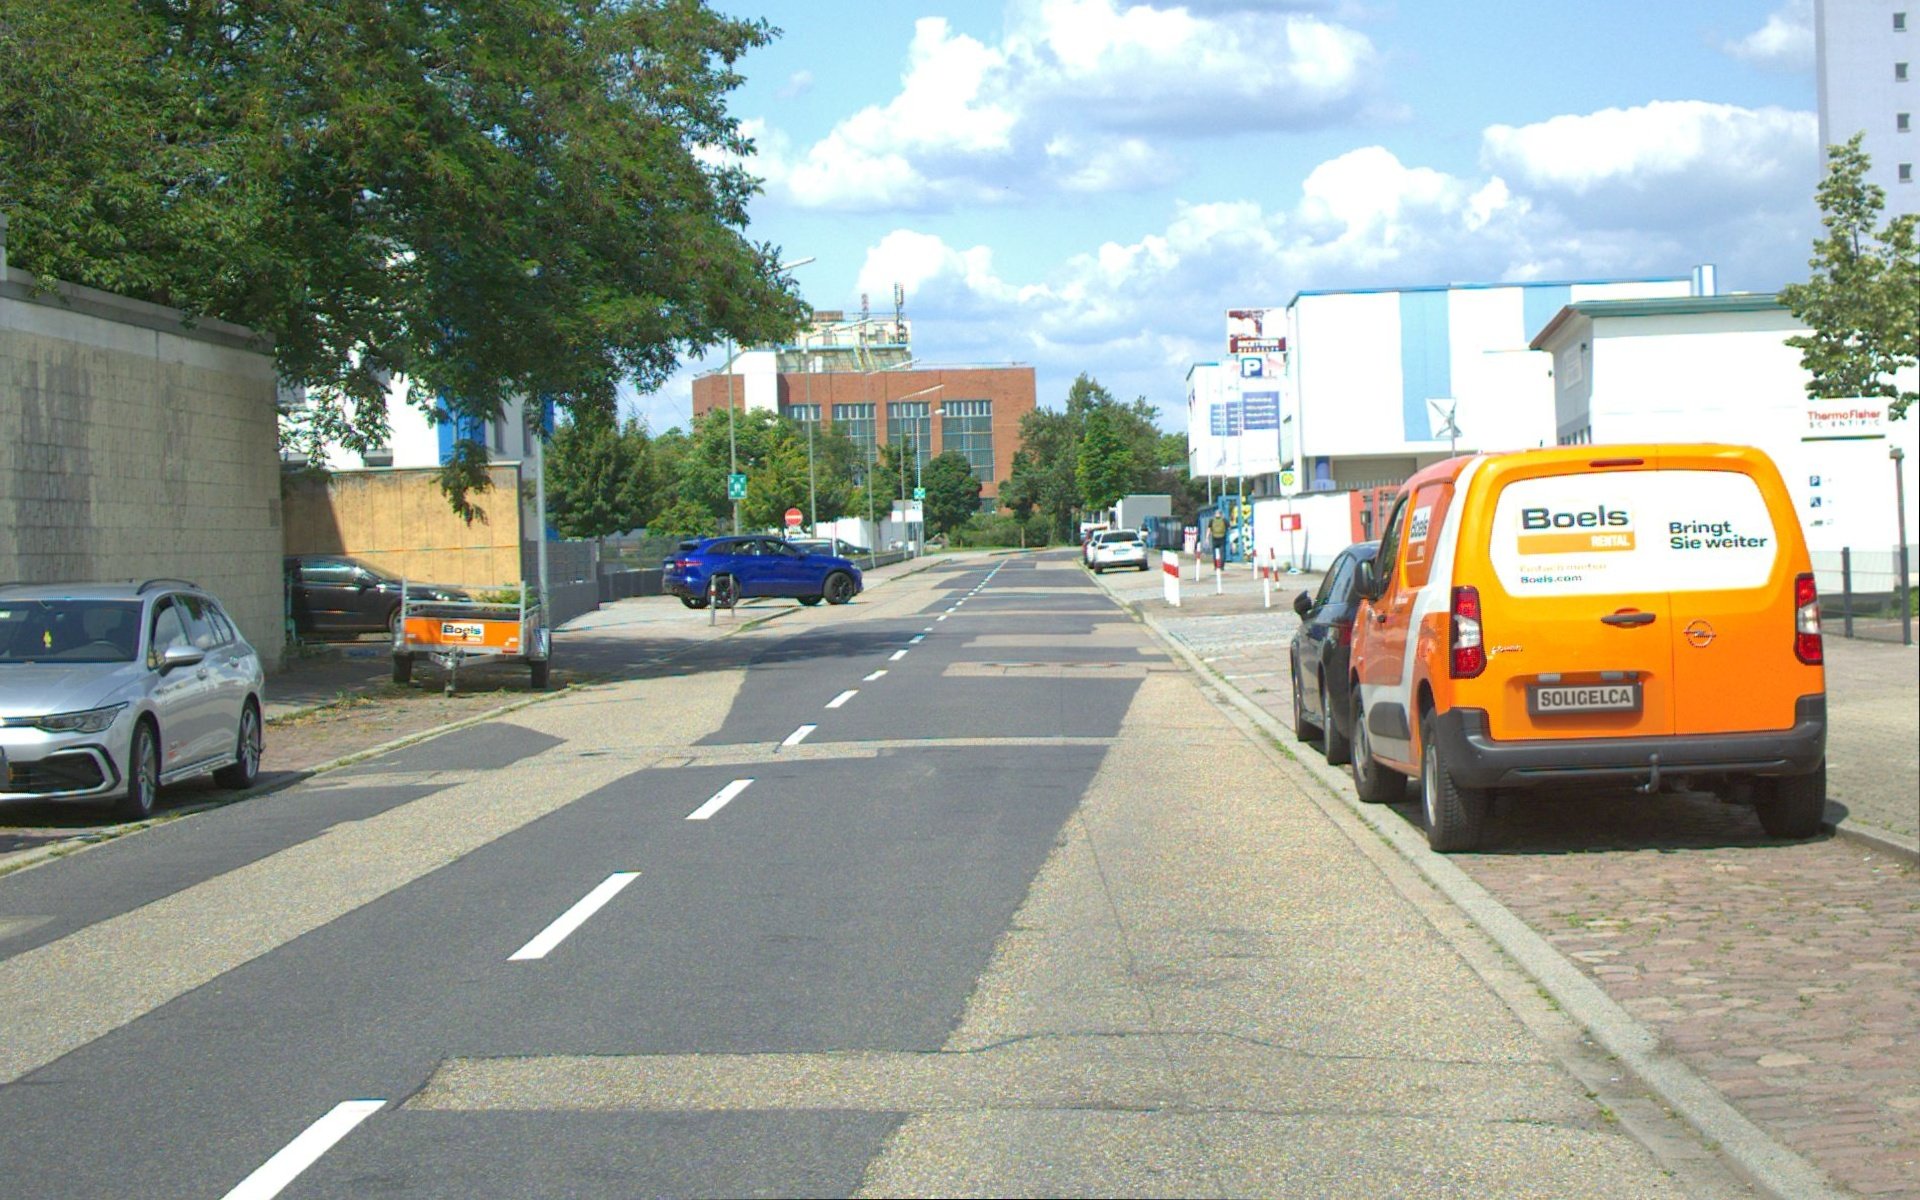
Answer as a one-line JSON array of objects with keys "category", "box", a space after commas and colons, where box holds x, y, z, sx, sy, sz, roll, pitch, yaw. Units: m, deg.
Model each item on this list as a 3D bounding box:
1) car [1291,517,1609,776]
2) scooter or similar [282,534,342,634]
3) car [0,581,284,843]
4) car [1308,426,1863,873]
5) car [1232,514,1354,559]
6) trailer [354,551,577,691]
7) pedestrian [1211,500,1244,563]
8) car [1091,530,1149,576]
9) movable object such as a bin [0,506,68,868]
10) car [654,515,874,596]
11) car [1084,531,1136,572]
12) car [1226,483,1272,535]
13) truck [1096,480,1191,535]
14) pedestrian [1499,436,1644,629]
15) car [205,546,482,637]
[{"category": "car", "box": [3.179, 0.239, 22.995, 1.659, 1.552, 4.178, 1, 1, 2]}, {"category": "scooter or similar", "box": [-8.459, -0.219, 44.896, 0.482, 1.274, 1.361, 1, 1, 2]}, {"category": "car", "box": [-5.643, 0.641, 22.205, 1.673, 1.450, 4.514, 0, 1, 0]}, {"category": "car", "box": [2.961, 0.175, 17.270, 1.872, 1.886, 4.453, 2, 1, 0]}, {"category": "car", "box": [12.217, -2.345, 126.216, 4.279, 1.415, 2.000, -3, 2, 2]}, {"category": "trailer", "box": [-5.489, 0.193, 38.639, 1.767, 1.434, 4.336, 1, 1, 1]}, {"category": "pedestrian", "box": [7.602, -1.944, 97.743, 0.769, 1.750, 0.787, -4, 1, 1]}, {"category": "car", "box": [5.560, -1.653, 120.116, 1.867, 1.515, 4.598, -1, 1, 1]}, {"category": "movable object such as a bin", "box": [-5.895, 0.482, 16.848, 1.613, 1.912, 5.138, 2, 2, 1]}, {"category": "car", "box": [-4.550, -1.036, 79.660, 4.685, 1.587, 1.916, -3, 1, -17]}, {"category": "car", "box": [5.786, -1.877, 132.991, 1.835, 1.515, 4.461, -1, 1, 1]}, {"category": "car", "box": [14.230, -4.464, 169.525, 1.924, 2.455, 5.259, -1, 1, 2]}, {"category": "truck", "box": [12.864, -6.495, 239.703, 2.325, 3.555, 9.351, 1, 3, 32]}, {"category": "pedestrian", "box": [6.385, -0.700, 35.947, 0.989, 1.945, 1.091, -3, 1, -21]}, {"category": "car", "box": [-9.765, -0.150, 54.582, 3.993, 1.357, 1.794, 1, 1, 5]}]
